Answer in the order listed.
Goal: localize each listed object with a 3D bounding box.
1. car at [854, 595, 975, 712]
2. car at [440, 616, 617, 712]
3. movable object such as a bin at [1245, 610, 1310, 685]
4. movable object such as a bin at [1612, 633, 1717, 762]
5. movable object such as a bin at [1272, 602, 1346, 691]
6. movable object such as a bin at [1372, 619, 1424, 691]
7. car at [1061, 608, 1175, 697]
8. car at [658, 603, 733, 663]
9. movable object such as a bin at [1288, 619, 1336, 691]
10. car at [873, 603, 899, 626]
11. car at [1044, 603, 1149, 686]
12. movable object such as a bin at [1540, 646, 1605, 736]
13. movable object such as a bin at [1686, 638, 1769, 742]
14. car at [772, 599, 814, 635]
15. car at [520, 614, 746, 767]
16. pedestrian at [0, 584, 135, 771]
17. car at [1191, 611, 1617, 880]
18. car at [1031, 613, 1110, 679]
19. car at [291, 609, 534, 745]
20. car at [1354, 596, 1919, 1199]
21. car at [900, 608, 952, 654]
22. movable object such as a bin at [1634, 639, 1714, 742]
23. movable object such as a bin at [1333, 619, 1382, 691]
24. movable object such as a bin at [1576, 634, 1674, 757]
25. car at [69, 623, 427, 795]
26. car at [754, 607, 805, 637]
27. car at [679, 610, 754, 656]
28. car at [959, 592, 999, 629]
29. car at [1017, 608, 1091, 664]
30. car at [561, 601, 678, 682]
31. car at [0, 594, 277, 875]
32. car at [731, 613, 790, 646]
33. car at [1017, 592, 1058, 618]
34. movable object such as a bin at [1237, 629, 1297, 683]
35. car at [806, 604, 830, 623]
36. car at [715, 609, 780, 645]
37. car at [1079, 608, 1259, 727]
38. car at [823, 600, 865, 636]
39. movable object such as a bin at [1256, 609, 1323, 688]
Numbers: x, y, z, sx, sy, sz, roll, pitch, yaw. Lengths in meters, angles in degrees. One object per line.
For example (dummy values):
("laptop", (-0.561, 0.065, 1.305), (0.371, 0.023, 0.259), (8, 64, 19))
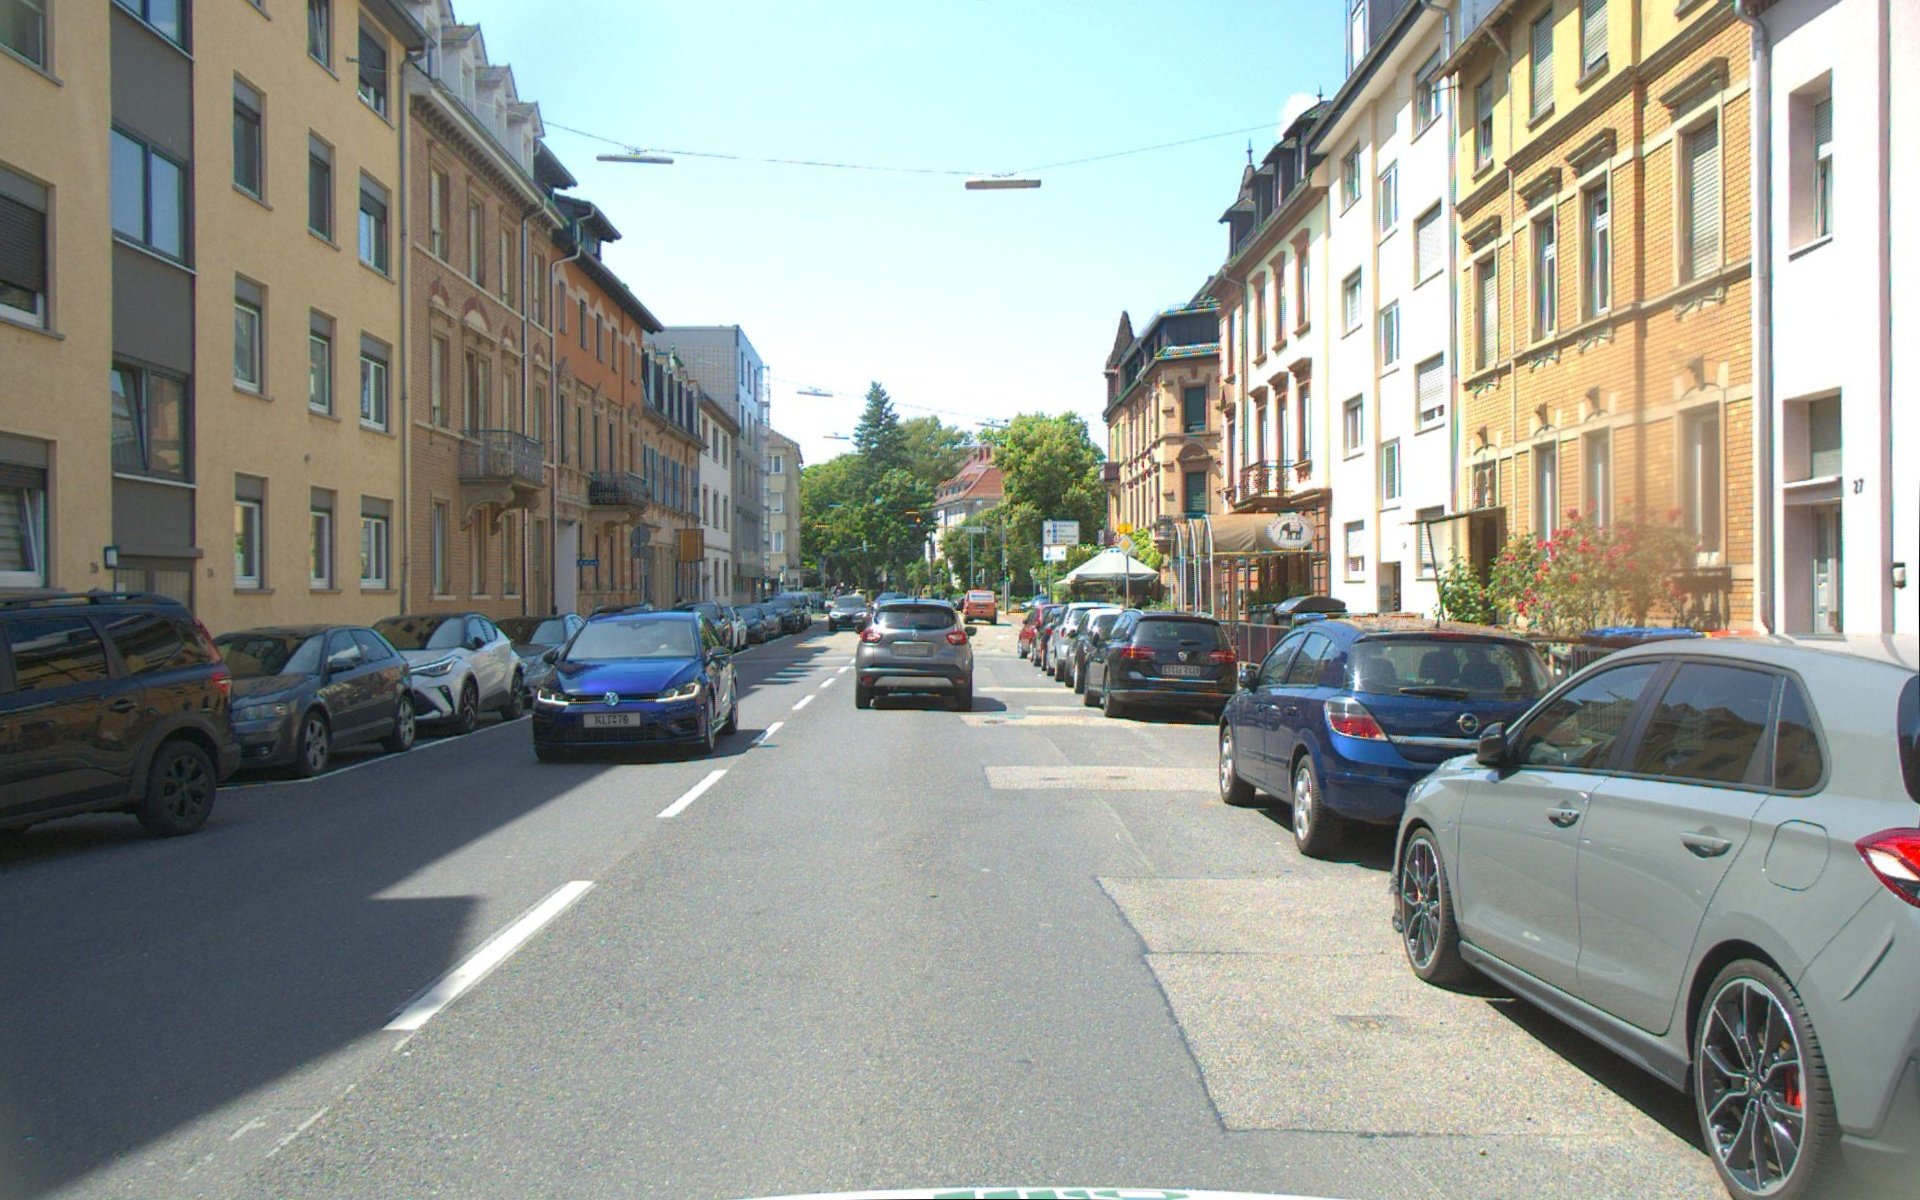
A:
("car", (-0.708, 0.771, 25.433), (1.709, 1.645, 3.998), (0, 0, -2))
("car", (-7.262, 1.026, 28.325), (1.866, 1.425, 4.753), (-2, 0, -2))
("movable object such as a bin", (6.203, 0.913, 32.400), (1.021, 1.426, 1.254), (1, 0, 1))
("movable object such as a bin", (6.212, 0.848, 14.604), (0.639, 1.102, 0.684), (-1, -1, 1))
("movable object such as a bin", (6.262, 0.828, 29.773), (1.021, 1.544, 1.446), (1, 0, 1))
("movable object such as a bin", (7.527, 0.940, 28.442), (0.654, 1.197, 0.852), (1, 0, 1))
("car", (2.827, 0.908, 30.241), (1.626, 1.466, 3.999), (1, 0, -1))
("car", (-7.802, 0.956, 49.169), (1.868, 1.648, 4.297), (-2, 0, -6))
("movable object such as a bin", (6.034, 0.932, 28.407), (0.625, 1.197, 0.911), (1, 0, 1))
("car", (-5.371, 1.028, 119.059), (1.755, 1.654, 3.739), (0, 0, -5))
("car", (2.811, 0.893, 34.818), (1.822, 1.580, 3.999), (2, 0, -1))
("movable object such as a bin", (6.558, 0.969, 17.718), (0.458, 0.929, 0.564), (-1, 0, -3))
("movable object such as a bin", (8.212, 0.954, 17.720), (0.548, 1.068, 0.667), (-1, -1, -3))
("car", (-8.984, 0.900, 89.214), (1.866, 1.853, 4.301), (-1, 0, -1))
("car", (-3.374, 0.879, 17.753), (1.779, 1.413, 3.998), (-1, 0, -3))
("pedestrian", (-8.971, 0.748, 16.458), (0.946, 1.780, 1.155), (-1, -1, -1))
("car", (2.918, 0.867, 11.949), (1.661, 1.513, 4.616), (2, 0, -2))
("car", (2.600, 1.065, 39.441), (1.578, 1.487, 3.504), (0, 0, -1))
("car", (-7.089, 0.935, 21.904), (1.866, 1.537, 4.300), (-2, 0, -2))
("car", (2.889, 0.779, 5.609), (1.823, 1.513, 4.306), (2, 0, -4))
("car", (-1.319, 1.163, 63.292), (1.776, 1.649, 4.438), (-2, -1, -4))
("movable object such as a bin", (7.624, 0.958, 17.677), (0.548, 1.068, 0.667), (-1, -1, -2))
("movable object such as a bin", (6.828, 0.936, 28.432), (0.625, 1.207, 0.852), (1, 0, 1))
("movable object such as a bin", (6.181, 0.876, 15.392), (0.639, 1.102, 0.684), (-1, -1, 1))
("car", (-6.939, 0.990, 16.633), (1.866, 1.403, 4.060), (-2, 0, -1))
("car", (-8.174, 0.989, 75.281), (1.866, 1.314, 4.301), (-1, 0, -1))
("car", (-7.983, 1.052, 54.542), (1.866, 1.381, 4.301), (-2, 0, -1))
("car", (1.069, 0.585, 95.258), (1.954, 2.049, 4.463), (-1, 0, -3))
("car", (2.530, 0.954, 45.150), (1.580, 1.468, 3.434), (0, 0, -4))
("car", (-7.642, 0.897, 37.482), (1.867, 1.648, 4.300), (-2, 0, -2))
("car", (-6.570, 0.838, 10.269), (1.864, 1.666, 4.561), (-2, 0, 15))
("car", (-8.204, 1.190, 68.341), (1.865, 1.314, 4.302), (-1, 0, 0))
("car", (4.718, 0.296, 99.852), (1.857, 1.534, 3.946), (-1, 0, 12))
("movable object such as a bin", (6.215, 1.122, 33.533), (1.021, 1.041, 0.991), (1, 0, 0))
("car", (-12.882, 1.230, 150.099), (1.754, 1.654, 3.743), (0, 0, 0))
("car", (-8.053, 1.011, 62.939), (1.865, 1.314, 4.302), (-1, 0, 1))
("car", (2.880, 0.894, 23.771), (1.823, 1.490, 4.616), (2, 0, -2))
("car", (-5.502, 0.859, 79.004), (1.900, 1.654, 3.998), (0, 0, -3))
("movable object such as a bin", (6.192, 0.895, 31.143), (1.021, 1.426, 1.254), (1, 0, 1))
